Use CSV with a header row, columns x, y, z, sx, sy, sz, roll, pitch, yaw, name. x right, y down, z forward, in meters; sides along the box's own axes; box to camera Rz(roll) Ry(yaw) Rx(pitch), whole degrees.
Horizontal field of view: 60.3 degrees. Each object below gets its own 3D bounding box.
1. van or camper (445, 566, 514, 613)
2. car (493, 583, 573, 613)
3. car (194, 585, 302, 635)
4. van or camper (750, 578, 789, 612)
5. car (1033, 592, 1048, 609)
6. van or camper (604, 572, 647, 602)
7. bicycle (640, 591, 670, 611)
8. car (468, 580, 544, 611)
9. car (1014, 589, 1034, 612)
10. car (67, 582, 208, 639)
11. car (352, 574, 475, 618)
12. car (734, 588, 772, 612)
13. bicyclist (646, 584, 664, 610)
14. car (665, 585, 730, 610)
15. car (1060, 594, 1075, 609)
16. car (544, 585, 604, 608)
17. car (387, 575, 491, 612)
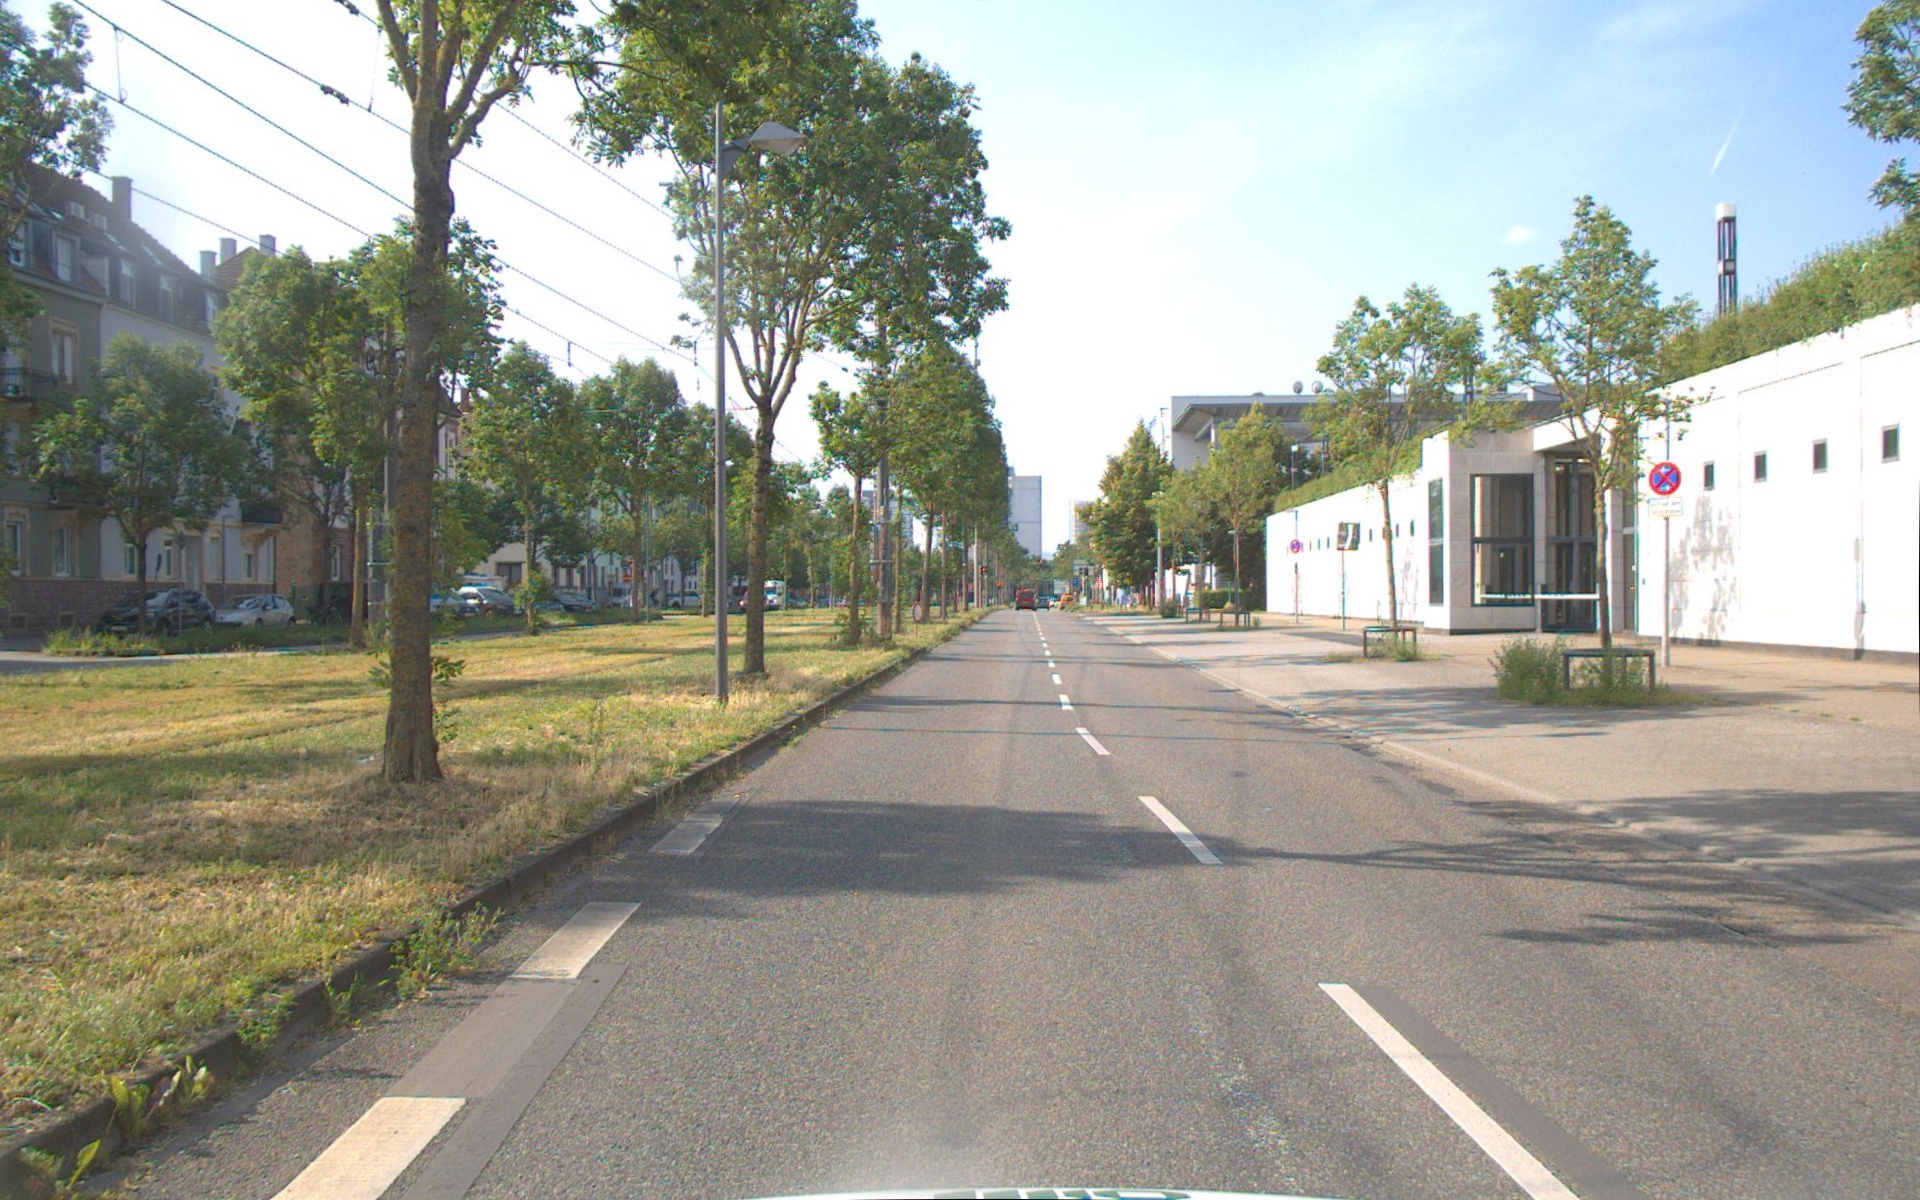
x,y,z,sx,sy,sz,roll,pitch,yaw,name
-28.394,-0.598,97.954,1.997,2.611,6.358,2,0,2,van or camper
-21.890,-0.100,84.755,3.912,1.441,1.574,2,0,29,car
-25.186,0.335,58.663,1.850,1.657,4.158,2,1,3,car
-15.132,-0.378,131.669,2.157,2.575,6.031,2,0,2,van or camper
9.811,0.065,201.258,1.712,2.049,3.217,2,0,3,car
-27.405,-1.035,135.660,1.952,2.369,5.831,2,0,4,van or camper
-21.498,0.096,116.744,2.029,1.347,0.782,2,0,-11,bicycle
-22.569,-0.233,82.243,3.922,1.441,1.570,2,0,37,car
5.977,0.018,153.885,1.712,2.049,3.217,2,0,3,car
-25.895,0.284,52.274,1.952,1.657,4.775,2,1,1,car
-22.700,-0.184,68.637,5.113,1.652,2.051,2,0,33,car
-15.586,-0.013,124.646,1.923,1.723,4.300,2,0,6,car
-21.521,-0.206,116.738,1.126,1.792,0.685,2,0,-10,bicyclist
-20.720,-0.219,130.372,5.222,1.768,1.992,2,0,36,car
13.149,0.189,202.022,1.712,1.679,3.217,2,0,3,car
-21.398,-0.199,91.652,3.100,1.181,1.492,2,0,35,car
-22.466,-0.277,71.301,4.384,1.444,1.969,2,0,34,car
